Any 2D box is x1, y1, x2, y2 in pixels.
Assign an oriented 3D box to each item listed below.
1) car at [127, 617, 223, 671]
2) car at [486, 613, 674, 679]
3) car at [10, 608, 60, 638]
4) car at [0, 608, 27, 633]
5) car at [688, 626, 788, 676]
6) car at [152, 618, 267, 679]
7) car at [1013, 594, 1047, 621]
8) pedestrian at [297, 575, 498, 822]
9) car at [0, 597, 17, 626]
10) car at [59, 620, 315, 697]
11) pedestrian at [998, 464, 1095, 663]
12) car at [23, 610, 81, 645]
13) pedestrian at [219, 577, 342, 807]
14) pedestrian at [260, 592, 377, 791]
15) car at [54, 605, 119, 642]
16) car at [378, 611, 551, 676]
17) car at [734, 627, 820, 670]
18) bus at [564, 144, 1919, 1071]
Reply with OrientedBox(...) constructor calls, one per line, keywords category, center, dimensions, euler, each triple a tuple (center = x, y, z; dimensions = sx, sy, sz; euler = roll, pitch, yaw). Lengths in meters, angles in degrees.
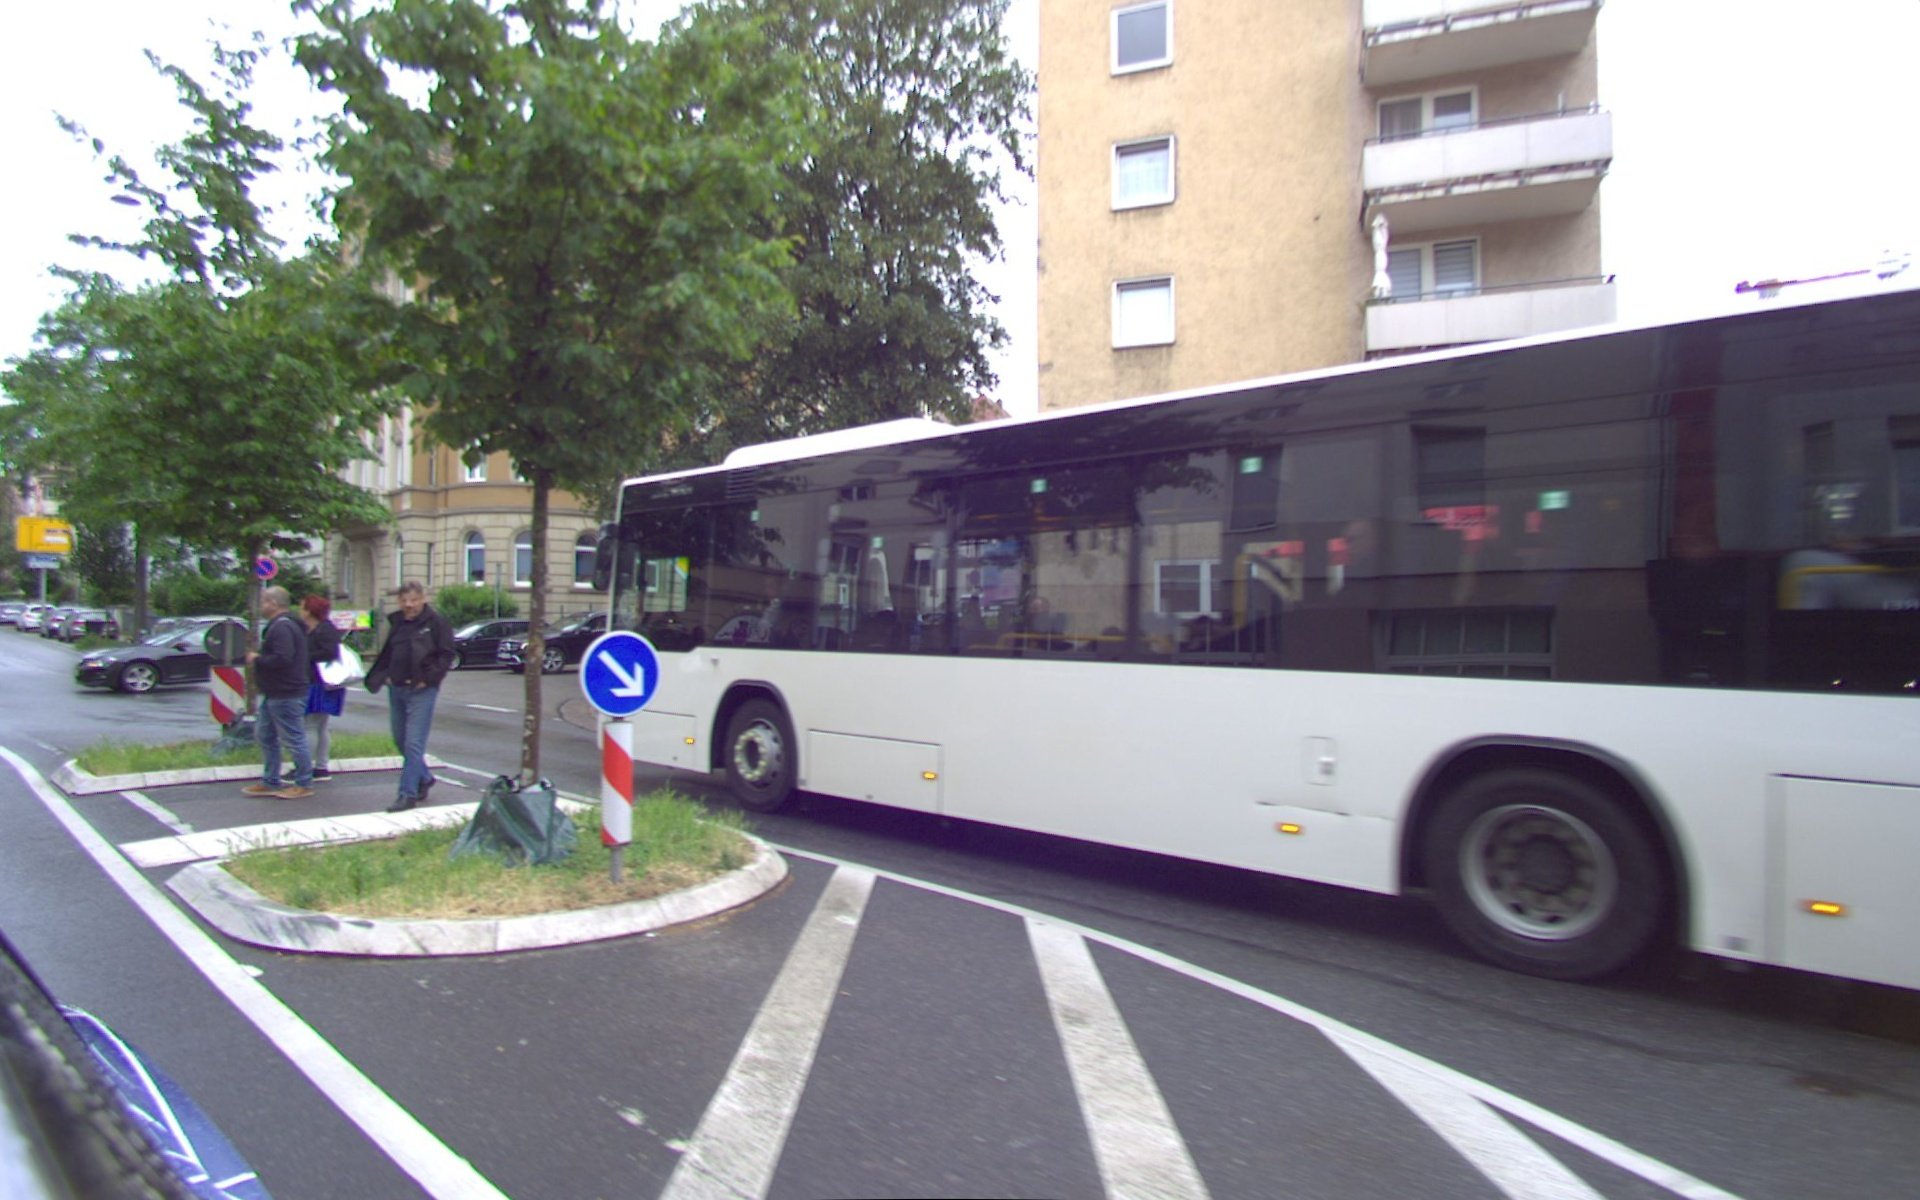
OrientedBox(category="car", center=(-24.453, 1.323, 31.490), dimensions=(3.391, 1.527, 1.651), euler=(0, 1, 40))
OrientedBox(category="car", center=(-10.286, 1.206, 27.679), dimensions=(1.809, 1.659, 4.544), euler=(-2, -2, 38))
OrientedBox(category="car", center=(-50.461, 1.251, 55.201), dimensions=(3.392, 1.527, 1.651), euler=(0, 1, 41))
OrientedBox(category="car", center=(-62.218, 1.334, 66.087), dimensions=(3.392, 1.527, 1.538), euler=(0, 1, 42))
OrientedBox(category="car", center=(-8.249, 1.860, 37.963), dimensions=(1.983, 1.697, 3.978), euler=(0, -1, 17))
OrientedBox(category="car", center=(-21.266, 1.326, 28.625), dimensions=(3.674, 1.527, 1.791), euler=(0, 1, 40))
OrientedBox(category="car", center=(5.685, 0.612, 81.677), dimensions=(1.982, 2.095, 3.980), euler=(0, -1, 15))
OrientedBox(category="pedestrian", center=(-4.311, 0.728, 7.847), dimensions=(0.844, 1.762, 1.061), euler=(1, -3, 6))
OrientedBox(category="car", center=(-65.951, 0.782, 69.302), dimensions=(3.657, 1.896, 1.619), euler=(0, -1, 41))
OrientedBox(category="car", center=(-16.042, 1.155, 21.175), dimensions=(1.809, 1.431, 3.949), euler=(-2, -2, 38))
OrientedBox(category="pedestrian", center=(0.927, -0.364, 10.794), dimensions=(0.782, 2.029, 0.694), euler=(-1, -1, 38))
OrientedBox(category="car", center=(-43.261, 1.289, 48.209), dimensions=(3.392, 1.527, 1.651), euler=(0, 1, 41))
OrientedBox(category="pedestrian", center=(-5.511, 0.721, 8.206), dimensions=(0.698, 1.762, 0.603), euler=(-2, -4, 42))
OrientedBox(category="pedestrian", center=(-5.737, 0.796, 9.070), dimensions=(0.779, 1.678, 0.700), euler=(3, -4, -33))
OrientedBox(category="car", center=(-38.572, 1.002, 44.646), dimensions=(3.695, 1.527, 1.651), euler=(0, 1, 41))
OrientedBox(category="car", center=(-13.877, 1.157, 28.443), dimensions=(3.939, 1.697, 2.002), euler=(1, -1, -43))
OrientedBox(category="car", center=(-7.707, 2.018, 42.980), dimensions=(1.983, 1.697, 3.978), euler=(0, -1, 17))
OrientedBox(category="bus", center=(1.584, 0.139, 7.030), dimensions=(11.958, 3.271, 2.775), euler=(-1, -6, 42))
